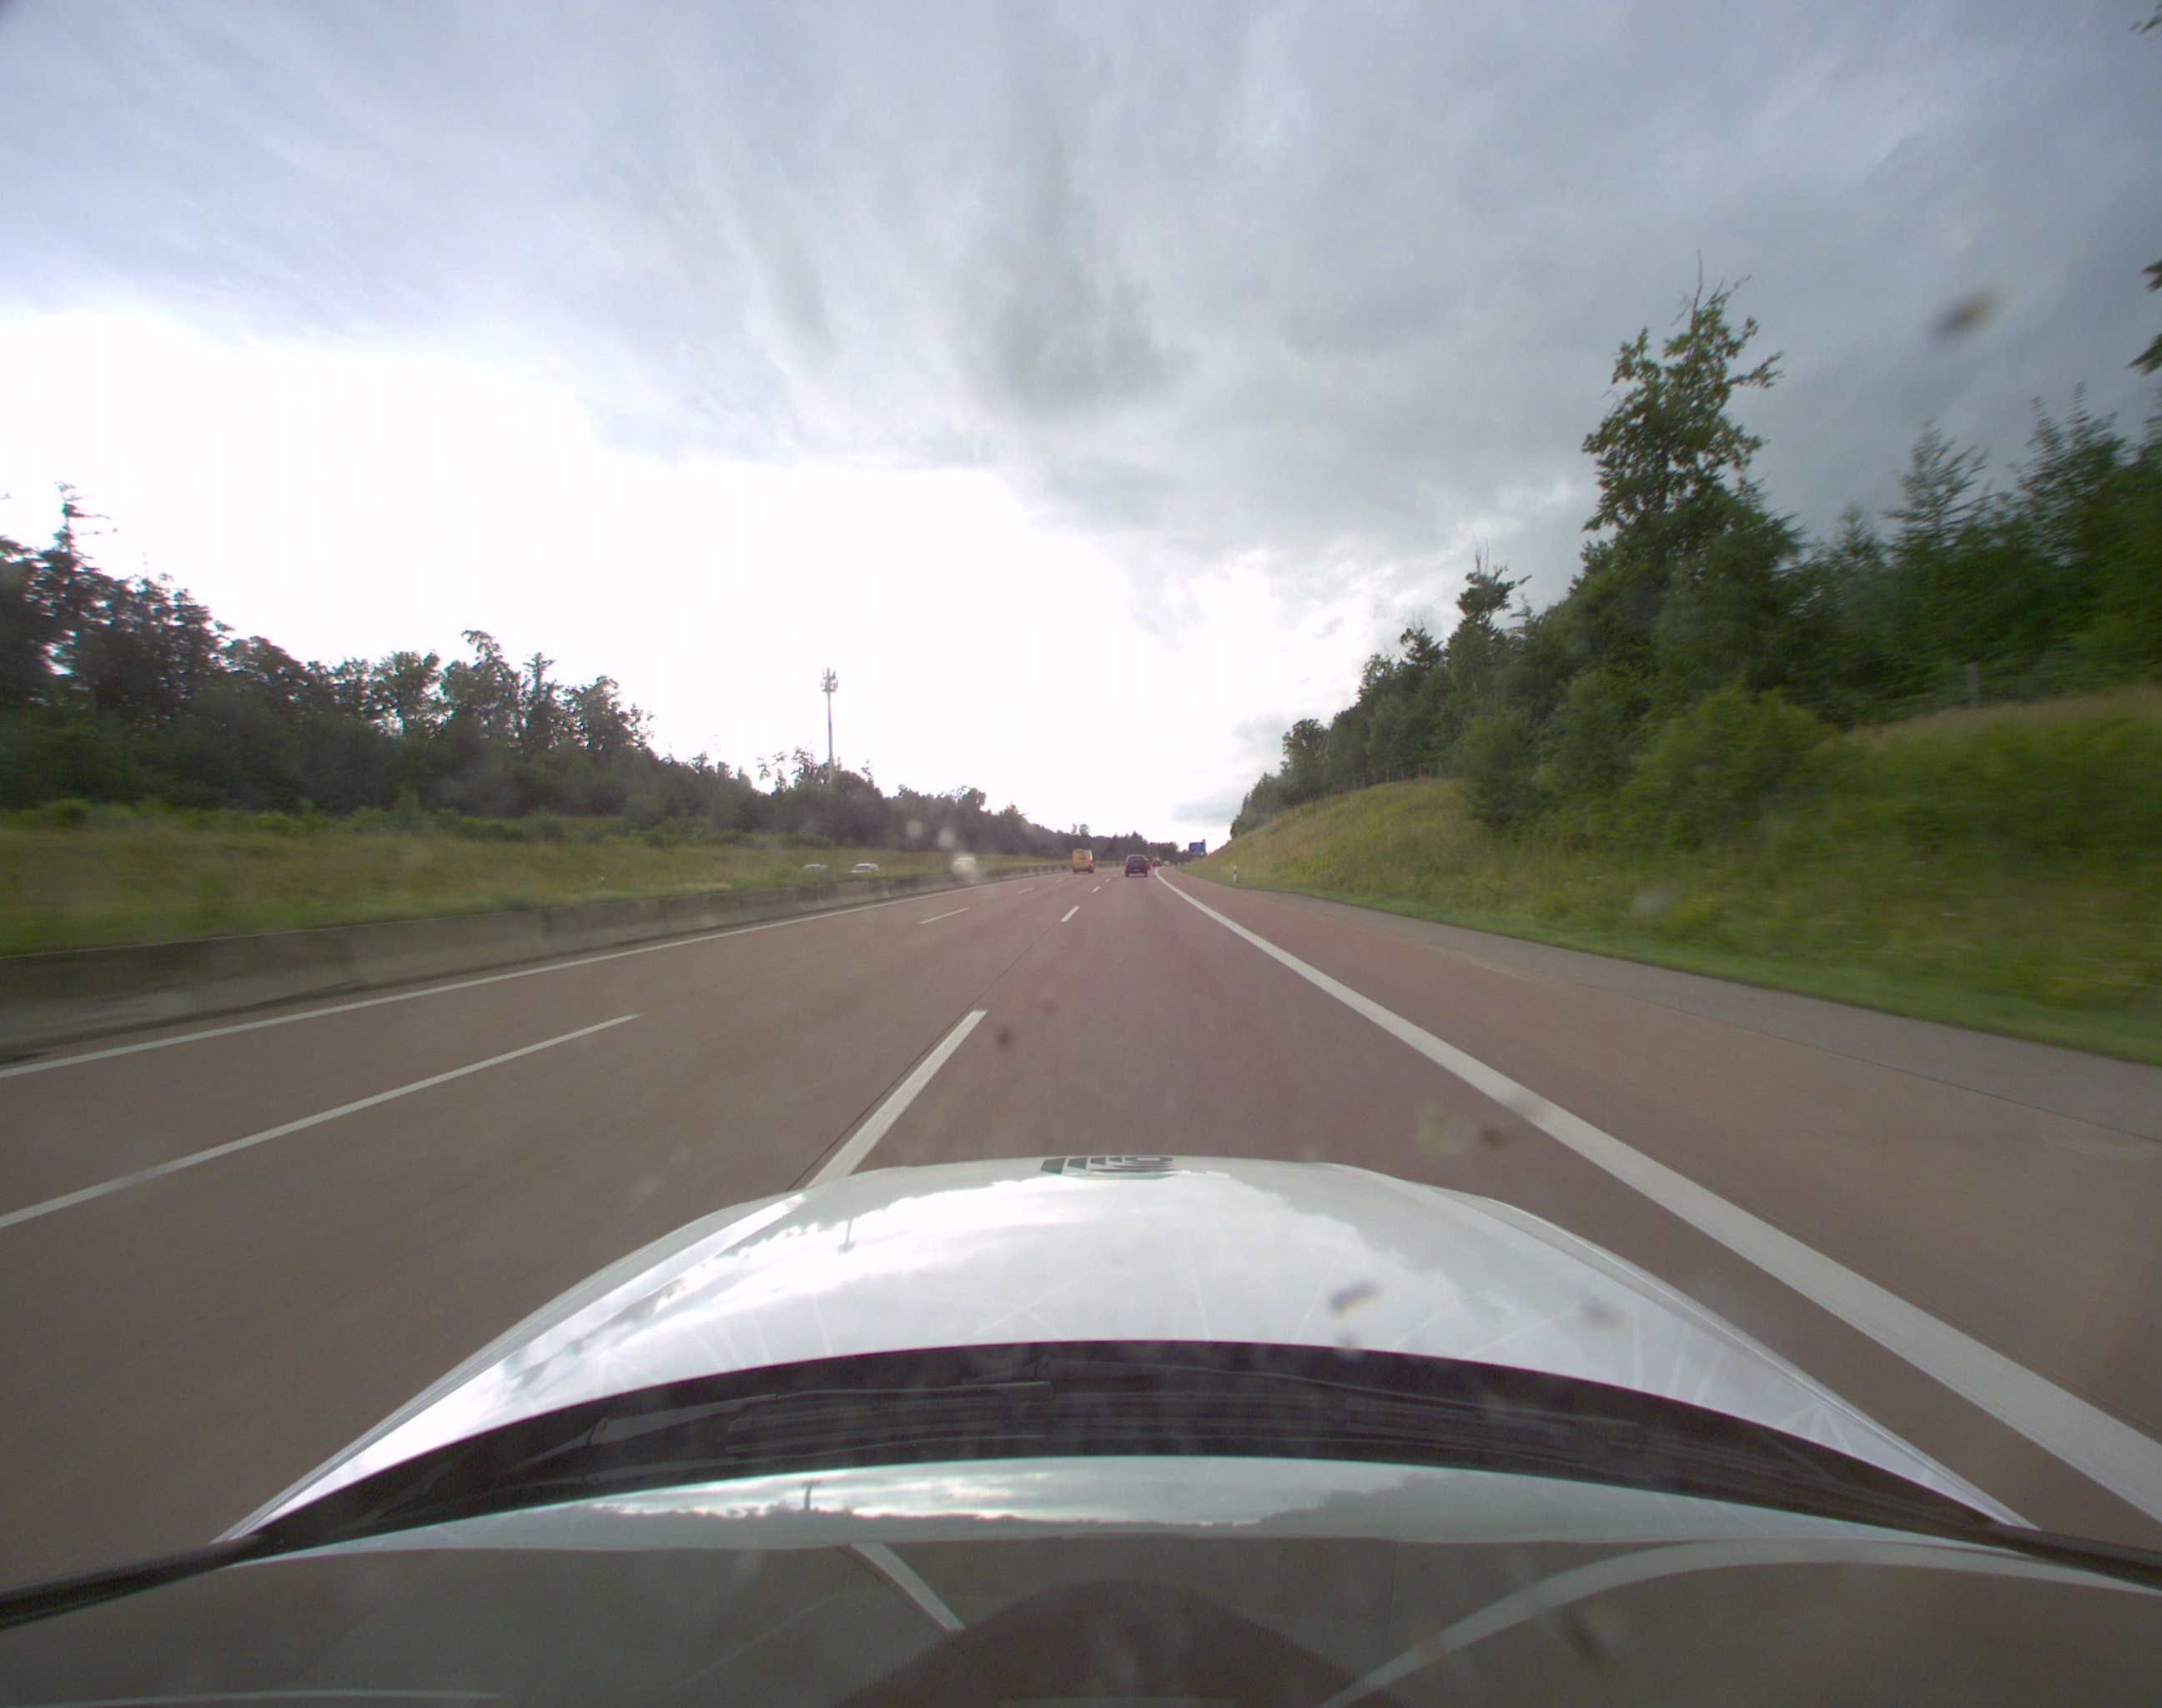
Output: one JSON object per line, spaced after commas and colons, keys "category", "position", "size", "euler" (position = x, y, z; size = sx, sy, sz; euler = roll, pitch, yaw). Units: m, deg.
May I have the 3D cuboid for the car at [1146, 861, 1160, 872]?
{"category": "car", "position": [10.515, 1.870, 119.298], "size": [1.968, 1.648, 4.624], "euler": [-1, -1, 5]}

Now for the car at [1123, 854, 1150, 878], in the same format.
{"category": "car", "position": [4.758, 1.038, 69.932], "size": [2.036, 1.897, 5.578], "euler": [-2, -2, 1]}

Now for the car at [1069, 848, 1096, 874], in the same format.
{"category": "car", "position": [0.198, 0.866, 92.689], "size": [2.446, 2.706, 5.622], "euler": [-2, -2, 6]}

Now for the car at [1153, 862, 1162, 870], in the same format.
{"category": "car", "position": [16.963, 2.621, 180.346], "size": [1.967, 1.648, 4.627], "euler": [-2, -2, 7]}
